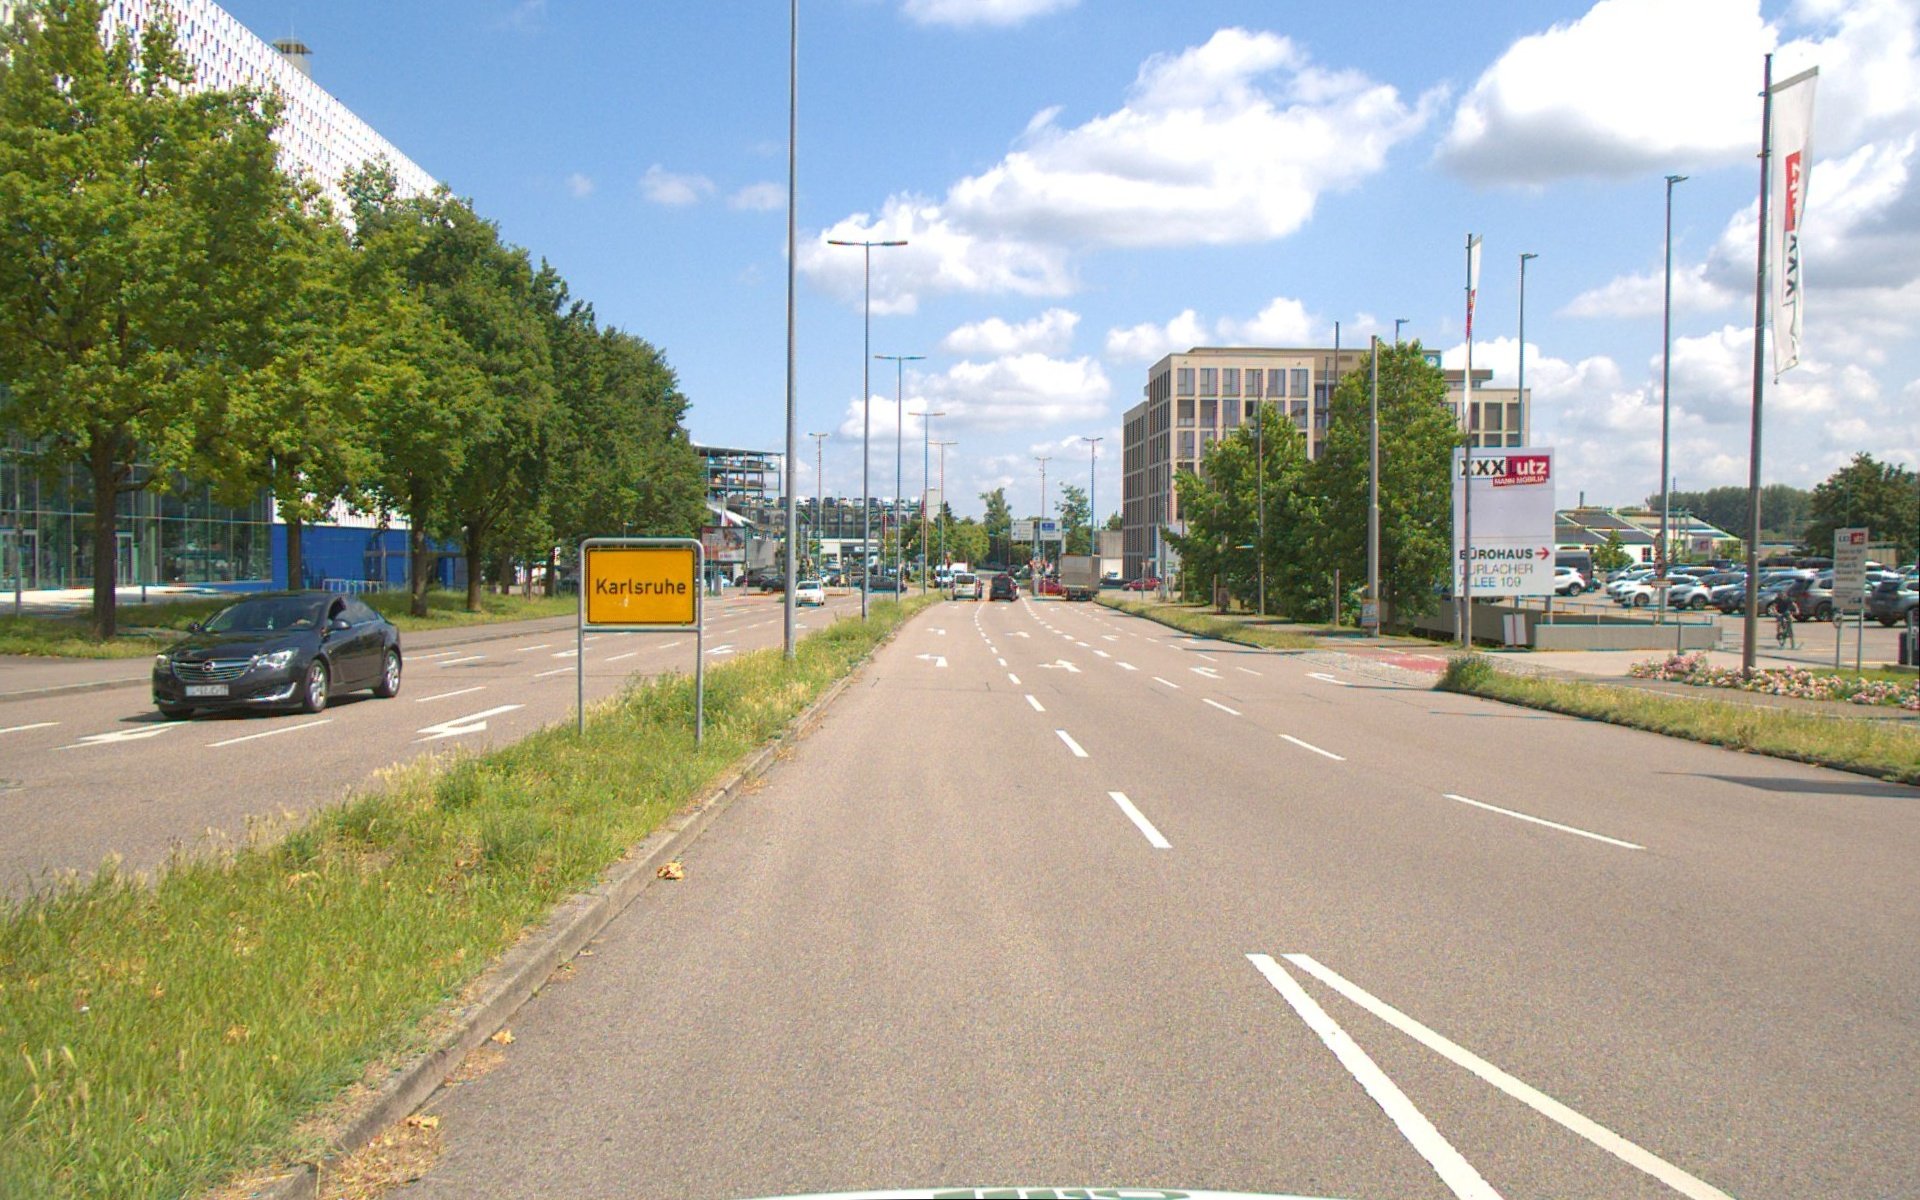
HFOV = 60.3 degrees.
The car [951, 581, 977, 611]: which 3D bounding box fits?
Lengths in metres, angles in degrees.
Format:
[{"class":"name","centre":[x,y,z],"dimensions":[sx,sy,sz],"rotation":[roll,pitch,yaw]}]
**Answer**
[{"class":"car","centre":[0.300,-0.320,121.320],"dimensions":[1.818,2.053,4.000],"rotation":[1,1,0]}]

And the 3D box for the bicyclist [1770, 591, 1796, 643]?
[{"class":"bicyclist","centre":[23.108,0.459,46.440],"dimensions":[0.603,1.437,0.714],"rotation":[0,1,24]}]

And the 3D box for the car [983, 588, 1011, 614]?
[{"class":"car","centre":[2.792,0.054,123.364],"dimensions":[1.781,1.840,4.002],"rotation":[2,0,5]}]

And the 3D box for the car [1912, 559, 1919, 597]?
[{"class":"car","centre":[51.775,-1.091,85.576],"dimensions":[3.905,1.985,2.000],"rotation":[1,1,0]}]

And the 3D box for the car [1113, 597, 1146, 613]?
[{"class":"car","centre":[17.665,0.533,172.487],"dimensions":[3.206,1.429,1.335],"rotation":[1,9,-1]}]

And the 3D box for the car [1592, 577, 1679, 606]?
[{"class":"car","centre":[37.200,-0.474,91.109],"dimensions":[4.098,1.459,1.726],"rotation":[-1,1,-1]}]

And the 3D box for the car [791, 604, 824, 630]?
[{"class":"car","centre":[-9.098,1.019,98.954],"dimensions":[1.609,1.454,3.670],"rotation":[-1,0,0]}]

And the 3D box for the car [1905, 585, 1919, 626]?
[{"class":"car","centre":[37.675,0.240,61.449],"dimensions":[4.154,1.489,1.760],"rotation":[1,1,-2]}]

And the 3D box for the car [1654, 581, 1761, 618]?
[{"class":"car","centre":[33.526,-0.017,74.249],"dimensions":[3.907,1.598,1.999],"rotation":[1,0,-3]}]

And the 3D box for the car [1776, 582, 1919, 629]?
[{"class":"car","centre":[33.002,0.188,61.553],"dimensions":[4.271,1.601,2.030],"rotation":[-1,1,-2]}]

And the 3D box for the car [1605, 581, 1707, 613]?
[{"class":"car","centre":[33.209,-0.145,79.006],"dimensions":[4.100,1.413,1.892],"rotation":[-1,1,-4]}]

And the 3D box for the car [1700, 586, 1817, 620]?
[{"class":"car","centre":[33.296,0.114,69.022],"dimensions":[4.098,1.348,1.688],"rotation":[-1,1,-1]}]

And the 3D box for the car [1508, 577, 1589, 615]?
[{"class":"car","centre":[33.590,-0.226,94.429],"dimensions":[3.905,2.049,2.000],"rotation":[-1,1,0]}]

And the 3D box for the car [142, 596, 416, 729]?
[{"class":"car","centre":[-8.433,0.714,20.938],"dimensions":[1.630,1.446,4.518],"rotation":[-2,0,-1]}]

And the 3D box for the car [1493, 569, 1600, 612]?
[{"class":"car","centre":[34.451,-0.545,97.264],"dimensions":[5.544,2.407,2.061],"rotation":[1,0,-2]}]

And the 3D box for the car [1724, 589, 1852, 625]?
[{"class":"car","centre":[33.258,0.273,66.486],"dimensions":[4.271,1.348,1.764],"rotation":[-1,1,-2]}]

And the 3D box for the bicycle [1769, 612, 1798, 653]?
[{"class":"bicycle","centre":[23.102,0.892,46.434],"dimensions":[0.610,1.086,1.967],"rotation":[0,1,23]}]

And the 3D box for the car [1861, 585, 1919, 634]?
[{"class":"car","centre":[33.380,0.288,56.656],"dimensions":[4.098,1.579,1.764],"rotation":[-1,1,-2]}]

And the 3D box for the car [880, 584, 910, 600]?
[{"class":"car","centre":[-8.568,-1.066,218.339],"dimensions":[3.909,1.959,1.825],"rotation":[1,0,-5]}]

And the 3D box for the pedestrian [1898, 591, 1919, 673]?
[{"class":"pedestrian","centre":[21.586,0.715,37.154],"dimensions":[0.853,1.813,0.783],"rotation":[1,1,30]}]

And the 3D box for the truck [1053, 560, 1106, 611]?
[{"class":"truck","centre":[10.028,-1.242,137.543],"dimensions":[3.063,4.009,8.866],"rotation":[1,1,13]}]
